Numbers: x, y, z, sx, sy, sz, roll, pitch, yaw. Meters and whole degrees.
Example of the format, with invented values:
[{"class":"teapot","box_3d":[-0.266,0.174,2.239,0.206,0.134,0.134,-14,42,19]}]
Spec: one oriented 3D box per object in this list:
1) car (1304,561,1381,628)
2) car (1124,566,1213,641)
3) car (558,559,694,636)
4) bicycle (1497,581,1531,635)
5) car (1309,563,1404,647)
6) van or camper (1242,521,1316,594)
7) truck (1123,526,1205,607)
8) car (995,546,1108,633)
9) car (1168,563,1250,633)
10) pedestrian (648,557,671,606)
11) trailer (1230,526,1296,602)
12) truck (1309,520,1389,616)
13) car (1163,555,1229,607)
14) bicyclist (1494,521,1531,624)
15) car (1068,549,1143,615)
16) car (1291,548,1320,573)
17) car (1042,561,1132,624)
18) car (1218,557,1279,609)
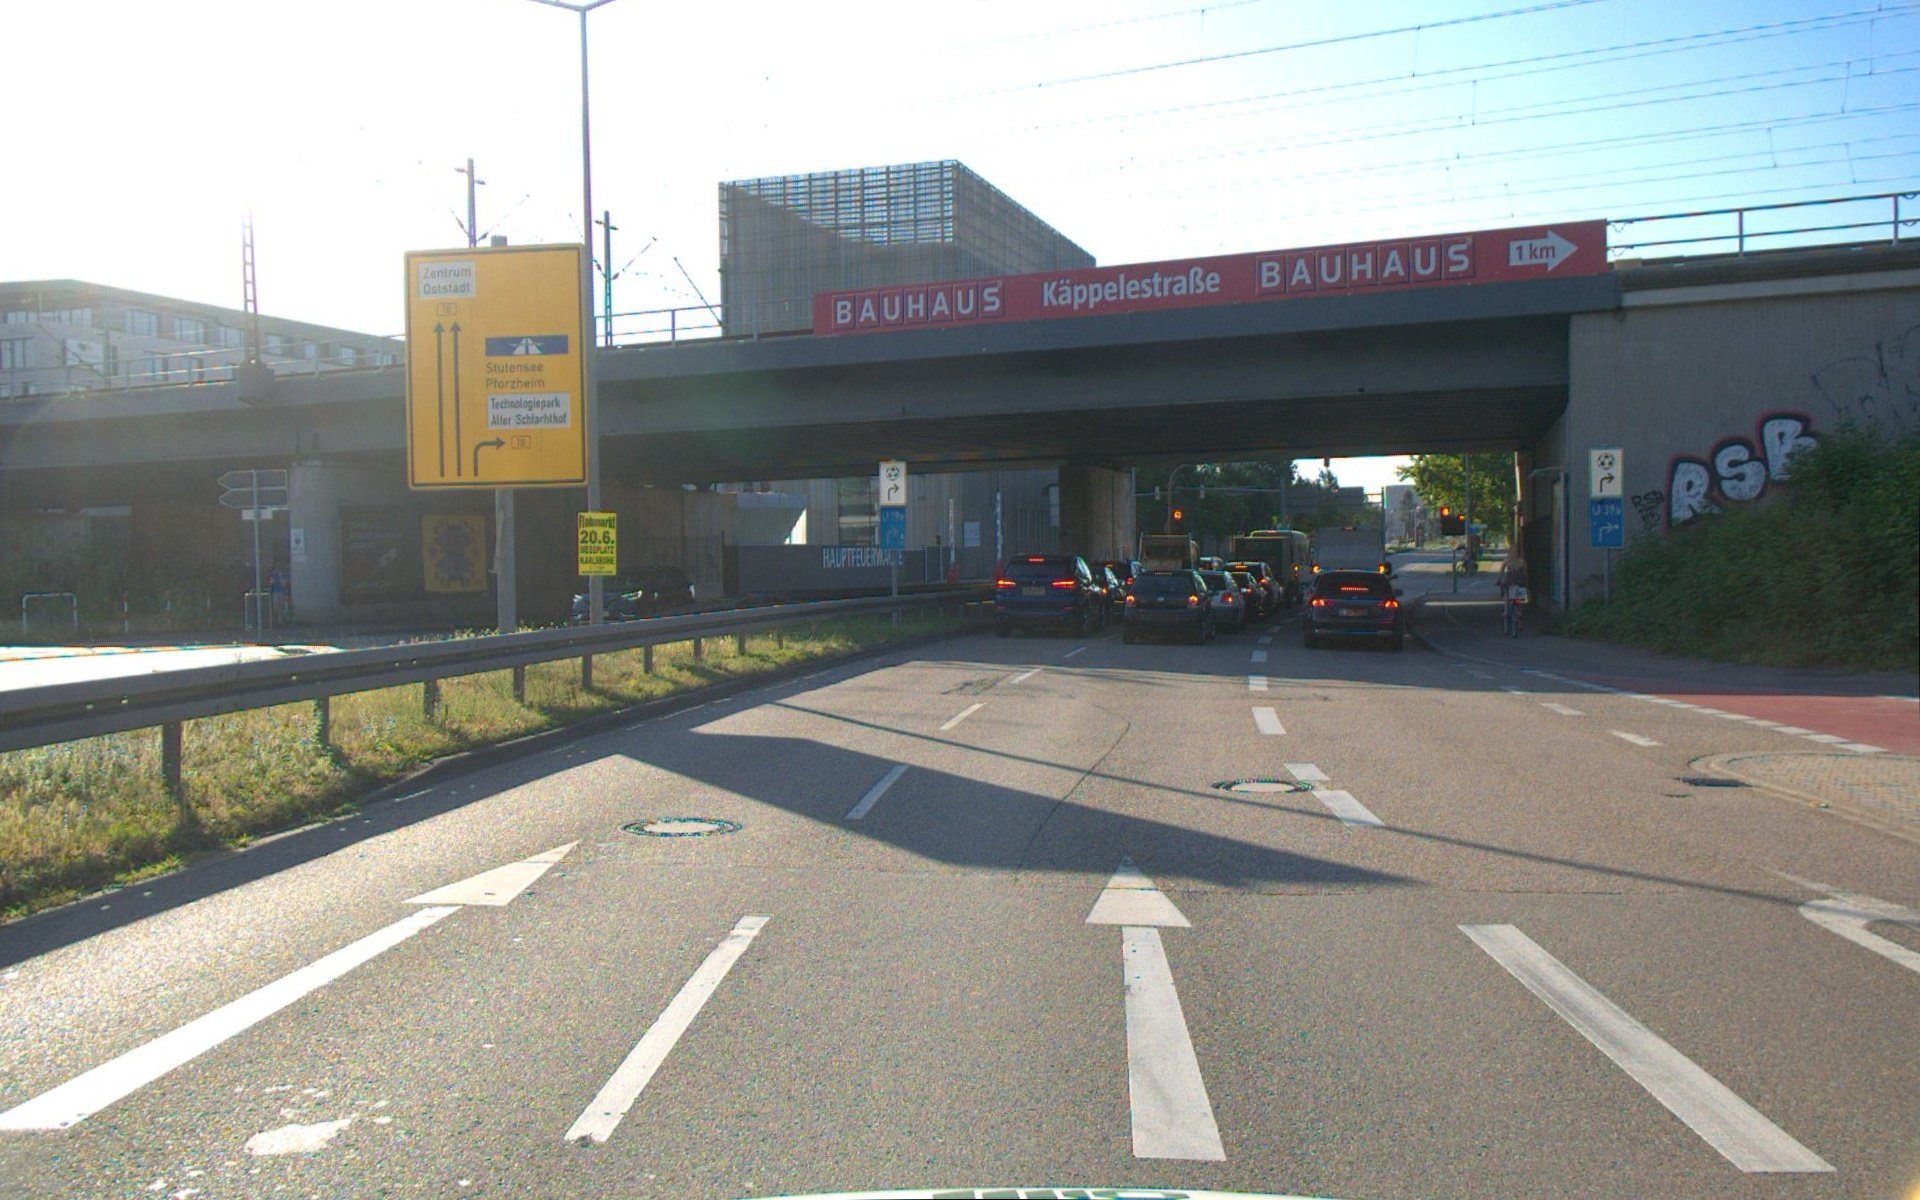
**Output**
[{"class":"car","box_3d":[9.380,-0.141,40.416,1.735,1.521,3.835,-1,0,14]},{"class":"car","box_3d":[4.273,0.051,33.534,1.548,1.433,3.835,0,0,11]},{"class":"car","box_3d":[-7.921,-0.065,39.665,1.807,1.631,4.398,-3,0,7]},{"class":"bicycle","box_3d":[10.611,0.139,31.747,0.566,0.980,2.888,0,0,18]},{"class":"car","box_3d":[7.828,0.044,32.914,1.703,1.479,4.611,0,2,12]},{"class":"van or camper","box_3d":[12.098,-1.571,62.418,1.952,2.615,5.920,0,0,19]},{"class":"truck","box_3d":[6.949,-1.089,55.881,1.985,2.601,5.541,0,0,15]},{"class":"car","box_3d":[2.075,-0.228,36.230,1.790,1.769,4.465,0,0,12]},{"class":"car","box_3d":[5.828,-0.082,38.476,1.514,1.447,3.420,-3,1,14]},{"class":"pedestrian","box_3d":[-11.980,-0.719,65.920,0.679,1.937,0.665,0,0,17]},{"class":"trailer","box_3d":[10.521,-1.224,57.287,1.824,2.508,3.834,-1,0,16]},{"class":"truck","box_3d":[11.258,-0.906,47.889,2.066,2.563,4.405,-2,0,13]},{"class":"car","box_3d":[9.199,-0.740,64.189,1.951,1.934,4.003,0,0,16]},{"class":"bicyclist","box_3d":[10.599,-0.528,31.752,0.667,1.940,0.833,0,0,18]},{"class":"car","box_3d":[4.335,-0.516,48.723,1.802,1.749,4.004,-3,0,10]},{"class":"car","box_3d":[24.004,-2.720,114.894,1.762,1.632,3.743,0,0,16]},{"class":"car","box_3d":[3.317,-0.200,42.706,1.802,1.465,3.679,-3,0,12]},{"class":"car","box_3d":[8.901,-0.517,50.890,1.548,1.559,3.835,0,0,15]}]
